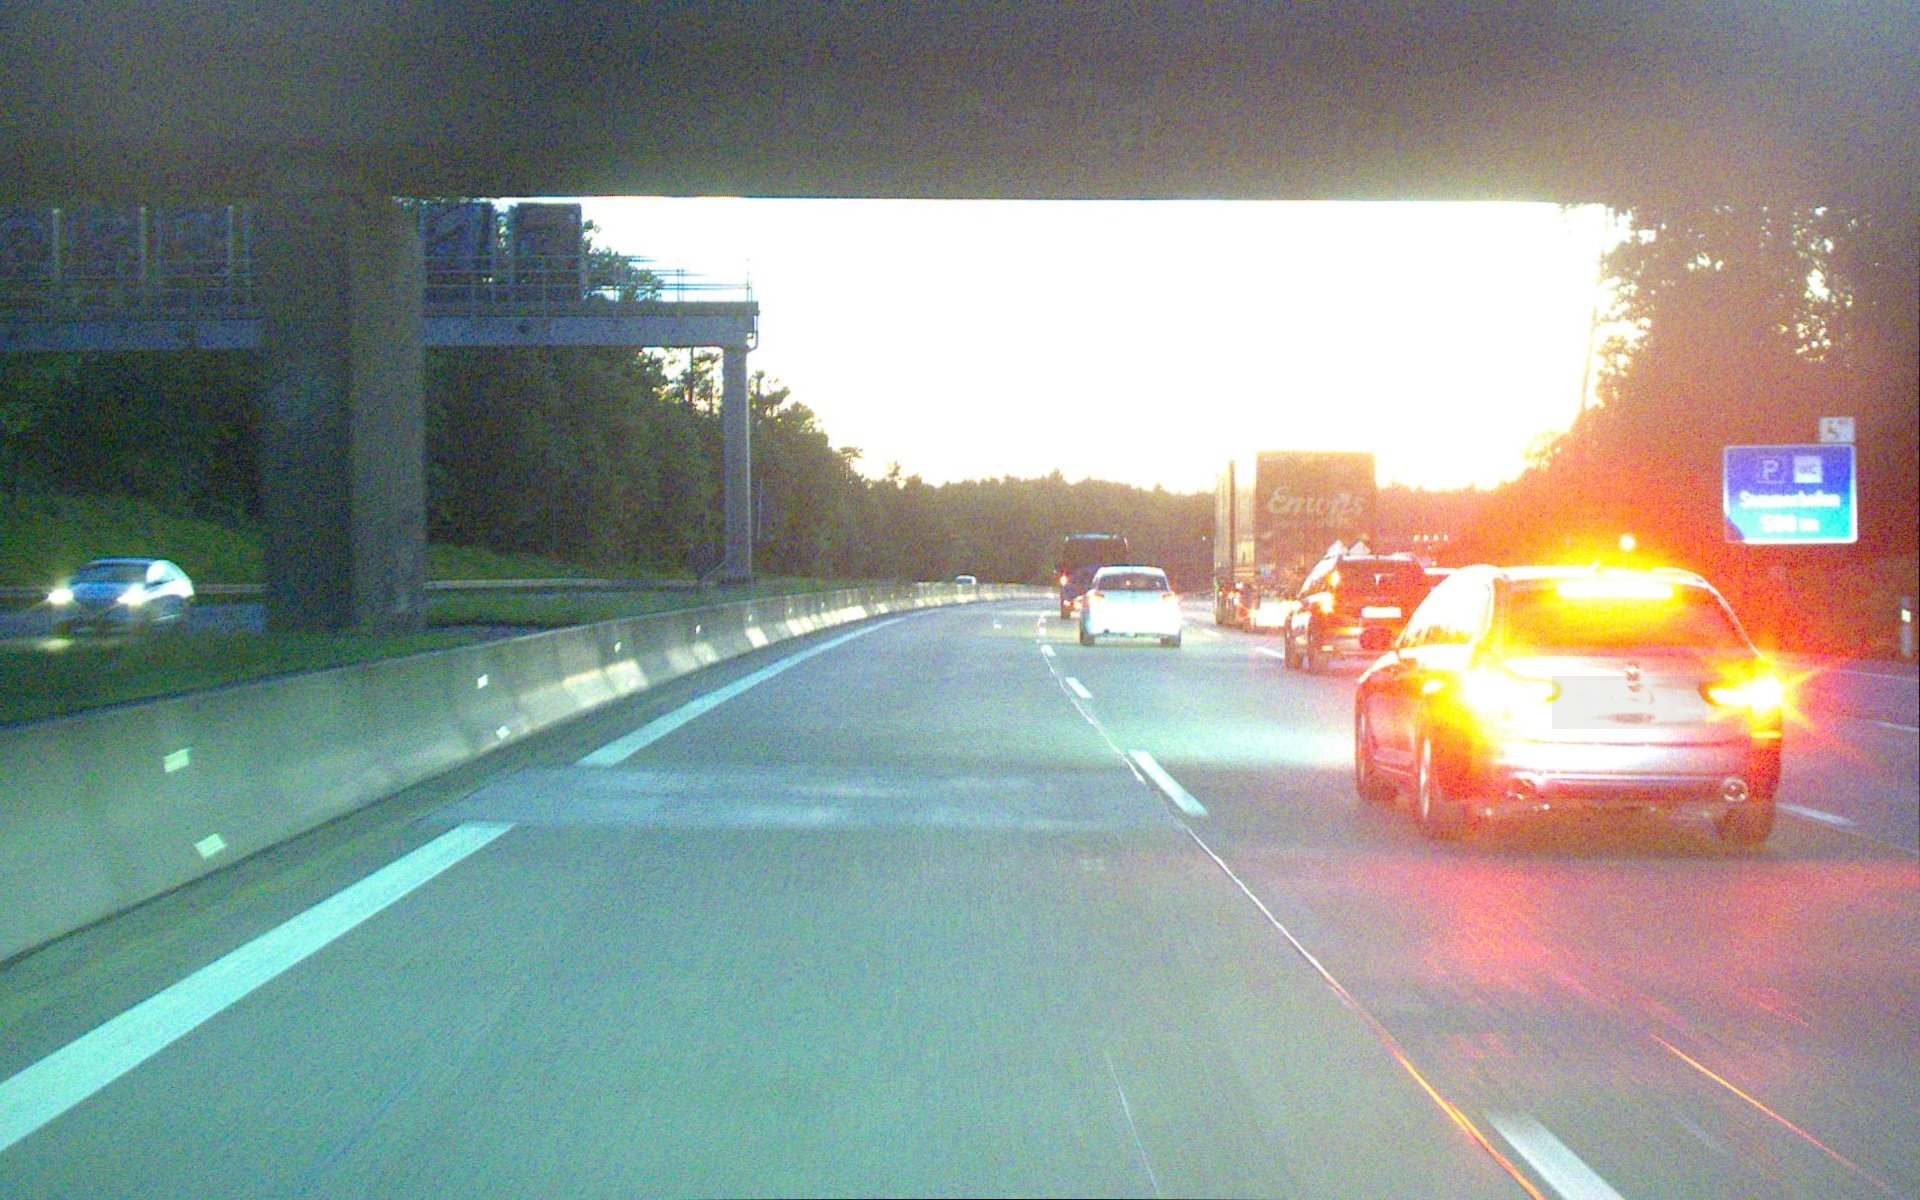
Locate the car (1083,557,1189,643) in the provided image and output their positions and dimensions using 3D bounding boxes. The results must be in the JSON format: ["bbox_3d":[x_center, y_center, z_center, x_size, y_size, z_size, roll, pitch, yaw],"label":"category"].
[{"bbox_3d":[3.169,-0.024,62.365,1.859,1.437,3.720,0,2,2],"label":"car"}]

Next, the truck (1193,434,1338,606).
[{"bbox_3d":[7.715,-1.913,88.037,2.885,4.087,10.831,1,0,1],"label":"truck"}]

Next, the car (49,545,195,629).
[{"bbox_3d":[-16.325,-0.279,67.189,1.811,1.515,4.430,0,2,0],"label":"car"}]

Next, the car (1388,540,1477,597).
[{"bbox_3d":[12.348,-0.812,90.047,1.859,1.437,4.111,0,0,1],"label":"car"}]

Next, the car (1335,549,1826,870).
[{"bbox_3d":[3.397,0.510,19.865,1.909,1.532,5.232,0,2,0],"label":"car"}]

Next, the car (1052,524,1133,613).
[{"bbox_3d":[3.735,-0.862,97.768,2.166,2.410,5.563,0,0,1],"label":"car"}]

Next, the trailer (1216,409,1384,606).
[{"bbox_3d":[7.527,-1.936,77.449,2.907,4.087,10.357,1,0,1],"label":"trailer"}]

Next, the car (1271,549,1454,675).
[{"bbox_3d":[5.525,0.135,47.741,1.903,1.638,5.052,0,1,0],"label":"car"}]
